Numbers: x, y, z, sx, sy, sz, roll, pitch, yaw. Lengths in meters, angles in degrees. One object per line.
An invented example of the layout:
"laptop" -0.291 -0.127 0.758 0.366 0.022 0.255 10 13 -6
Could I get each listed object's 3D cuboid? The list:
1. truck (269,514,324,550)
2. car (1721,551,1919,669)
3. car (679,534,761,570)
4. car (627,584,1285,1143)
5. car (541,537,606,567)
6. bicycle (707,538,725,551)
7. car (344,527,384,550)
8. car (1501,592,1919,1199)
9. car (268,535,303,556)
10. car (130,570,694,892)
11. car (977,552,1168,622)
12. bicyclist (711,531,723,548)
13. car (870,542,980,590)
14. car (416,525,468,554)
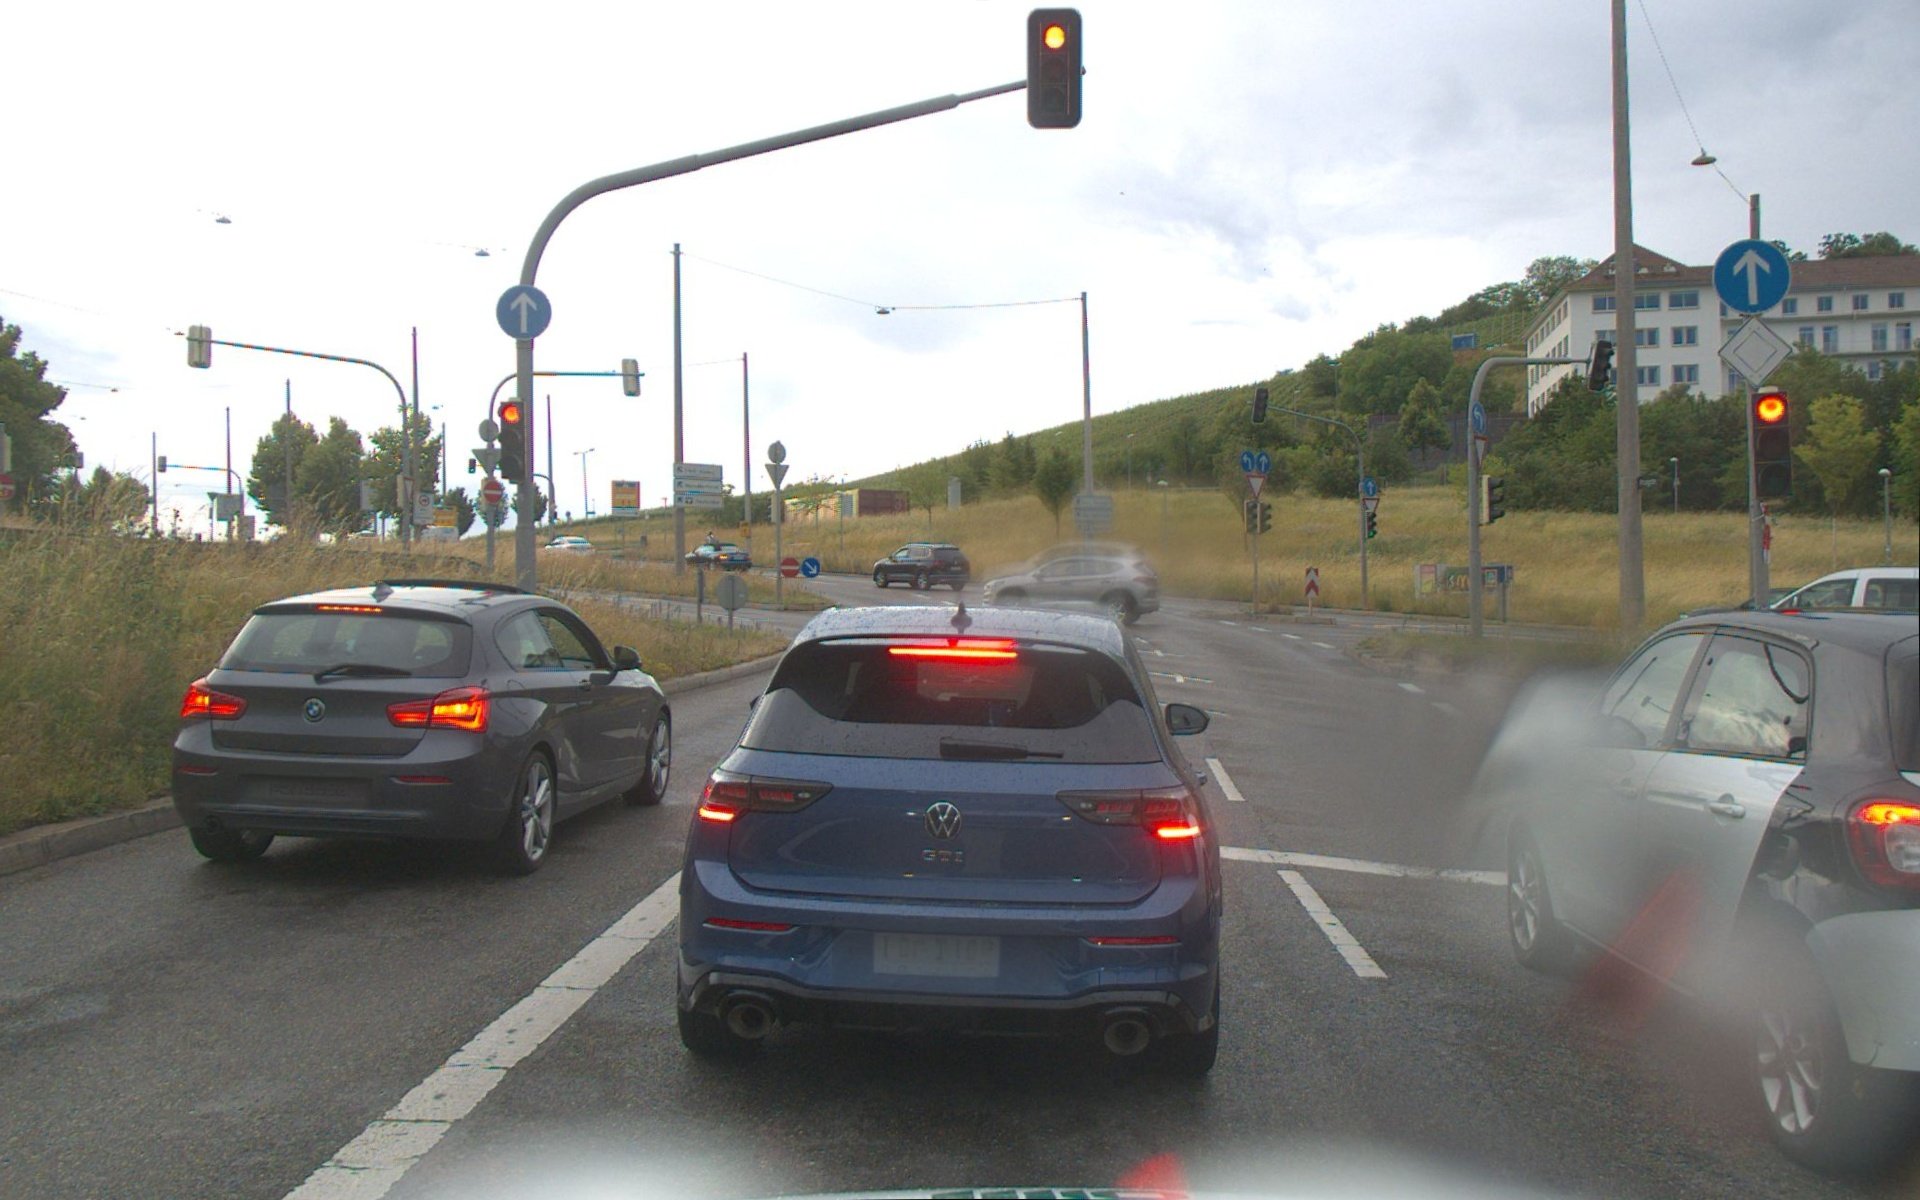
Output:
"truck" -63.071 -6.470 157.211 3.234 3.128 6.096 4 0 -37
"car" 15.458 0.173 27.702 1.806 1.882 4.627 2 -1 -41
"car" -11.195 -2.190 76.868 1.978 1.503 4.446 1 -1 -36
"car" 0.127 0.705 6.417 1.786 1.486 3.810 1 0 4
"car" -21.685 -2.651 92.651 1.979 1.503 4.362 1 -1 -37
"bicycle" -15.703 -3.584 106.456 0.513 0.788 1.602 3 0 -33
"car" -48.997 -5.022 135.910 1.978 1.688 4.487 1 -1 -36
"car" 3.193 0.778 5.784 1.623 1.529 3.452 1 -1 3
"car" -60.561 -4.904 148.518 1.978 1.688 4.298 1 -1 -36
"car" -2.892 0.585 9.749 1.667 1.485 4.117 0 0 5
"car" 2.813 -0.318 41.058 4.414 1.649 2.001 1 -1 15
"bicyclist" -15.638 -3.904 106.397 0.518 1.065 0.574 4 0 -34
"car" -1.354 -1.236 62.268 1.979 1.665 4.362 1 -1 -37
"car" -36.306 -4.219 115.868 2.111 1.826 4.682 1 -1 -35
